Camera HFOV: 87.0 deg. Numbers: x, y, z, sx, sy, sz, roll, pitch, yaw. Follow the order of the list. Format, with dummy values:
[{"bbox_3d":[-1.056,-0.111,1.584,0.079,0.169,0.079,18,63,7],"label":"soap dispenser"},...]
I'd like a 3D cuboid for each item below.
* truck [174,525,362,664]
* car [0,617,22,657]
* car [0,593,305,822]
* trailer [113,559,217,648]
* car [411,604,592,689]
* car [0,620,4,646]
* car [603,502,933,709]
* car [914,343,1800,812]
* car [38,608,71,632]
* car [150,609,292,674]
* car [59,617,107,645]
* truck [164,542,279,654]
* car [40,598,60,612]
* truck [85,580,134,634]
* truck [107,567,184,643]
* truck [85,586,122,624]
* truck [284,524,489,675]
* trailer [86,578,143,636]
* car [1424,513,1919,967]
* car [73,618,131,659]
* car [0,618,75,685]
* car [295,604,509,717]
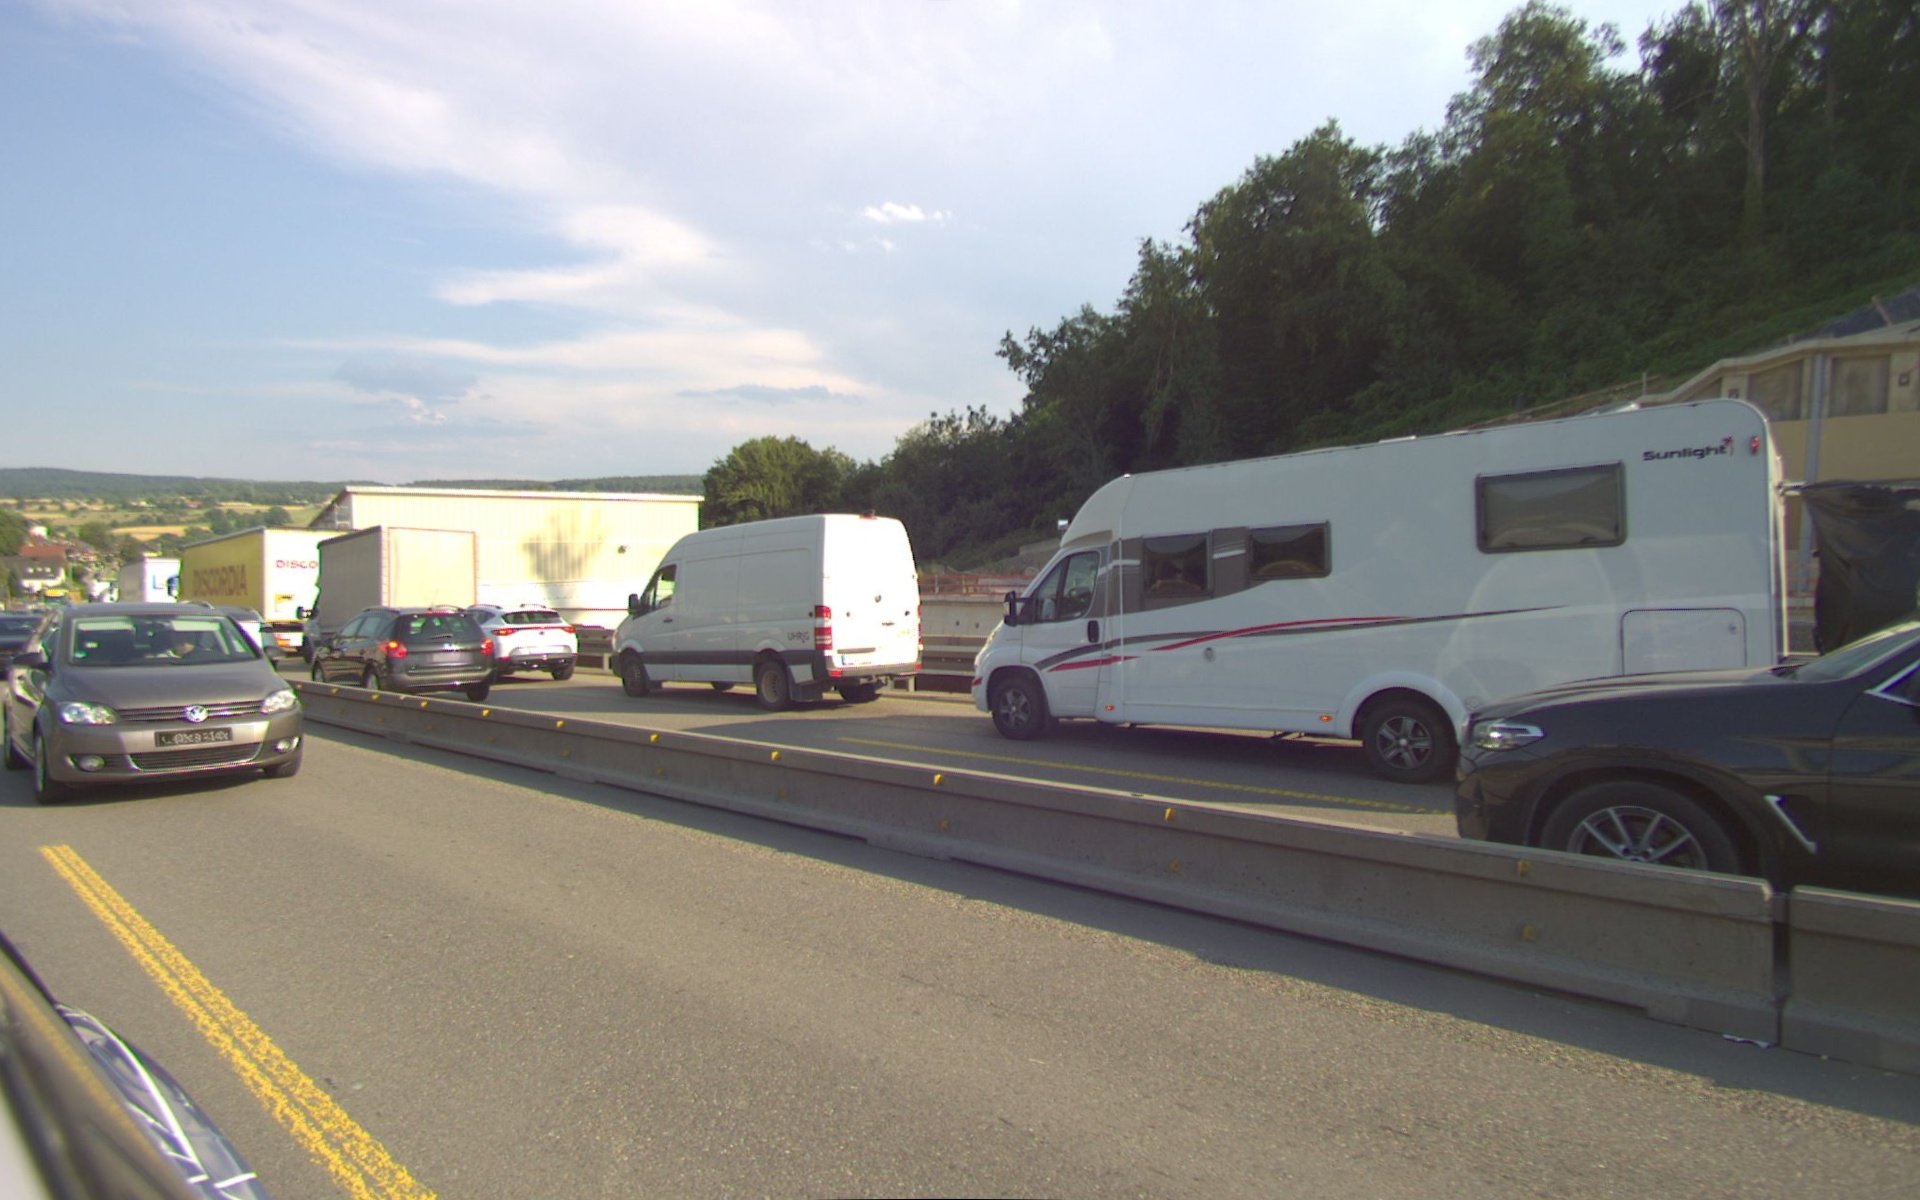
[{"bbox_3d":[-24.876,-0.103,35.867,14.157,4.119,2.677,-1,-1,44],"label":"truck"},{"bbox_3d":[-36.411,1.402,38.033,1.674,1.409,4.004,-2,0,-43],"label":"car"},{"bbox_3d":[-7.432,0.766,9.107,4.100,1.585,1.665,-1,0,44],"label":"car"},{"bbox_3d":[-41.548,0.219,52.646,2.824,4.066,13.981,0,-1,-44],"label":"trailer"},{"bbox_3d":[-9.283,0.870,20.364,3.999,1.535,1.746,-1,0,40],"label":"car"},{"bbox_3d":[-49.128,1.654,50.801,1.605,1.256,4.003,0,0,-44],"label":"car"},{"bbox_3d":[-3.156,0.090,15.606,5.747,2.640,1.935,0,-1,42],"label":"car"},{"bbox_3d":[3.104,-0.118,9.737,7.628,2.940,2.310,0,-1,41],"label":"car"},{"bbox_3d":[-74.148,1.598,82.820,1.840,1.925,4.003,1,-1,-44],"label":"car"},{"bbox_3d":[-18.854,1.075,25.745,4.726,1.498,2.035,-2,-4,43],"label":"car"},{"bbox_3d":[-47.533,1.644,54.820,1.786,1.436,4.678,-1,0,-43],"label":"car"},{"bbox_3d":[-29.519,-0.053,40.356,6.102,4.119,2.683,-1,-1,44],"label":"truck"},{"bbox_3d":[-142.527,0.725,158.477,4.752,2.015,1.798,-2,-3,41],"label":"car"},{"bbox_3d":[-64.681,0.544,76.922,2.568,3.917,6.209,0,-1,-43],"label":"truck"},{"bbox_3d":[-46.195,0.289,57.337,2.811,4.066,6.106,0,-1,-44],"label":"truck"},{"bbox_3d":[-88.820,0.479,104.918,2.857,3.738,9.503,0,0,-41],"label":"truck"},{"bbox_3d":[-15.336,0.031,26.772,7.615,3.489,2.421,-1,-1,42],"label":"truck"},{"bbox_3d":[-61.531,0.502,73.547,2.566,3.910,10.587,0,-1,-43],"label":"trailer"},{"bbox_3d":[4.513,0.492,3.748,4.752,1.591,1.798,-2,-3,41],"label":"car"},{"bbox_3d":[-35.827,1.569,42.236,1.634,1.535,4.291,-1,0,-43],"label":"car"},{"bbox_3d":[-21.976,1.138,23.498,4.002,1.409,1.841,0,-1,45],"label":"car"},{"bbox_3d":[-9.065,0.923,16.317,3.999,1.533,1.763,-2,0,42],"label":"car"}]
